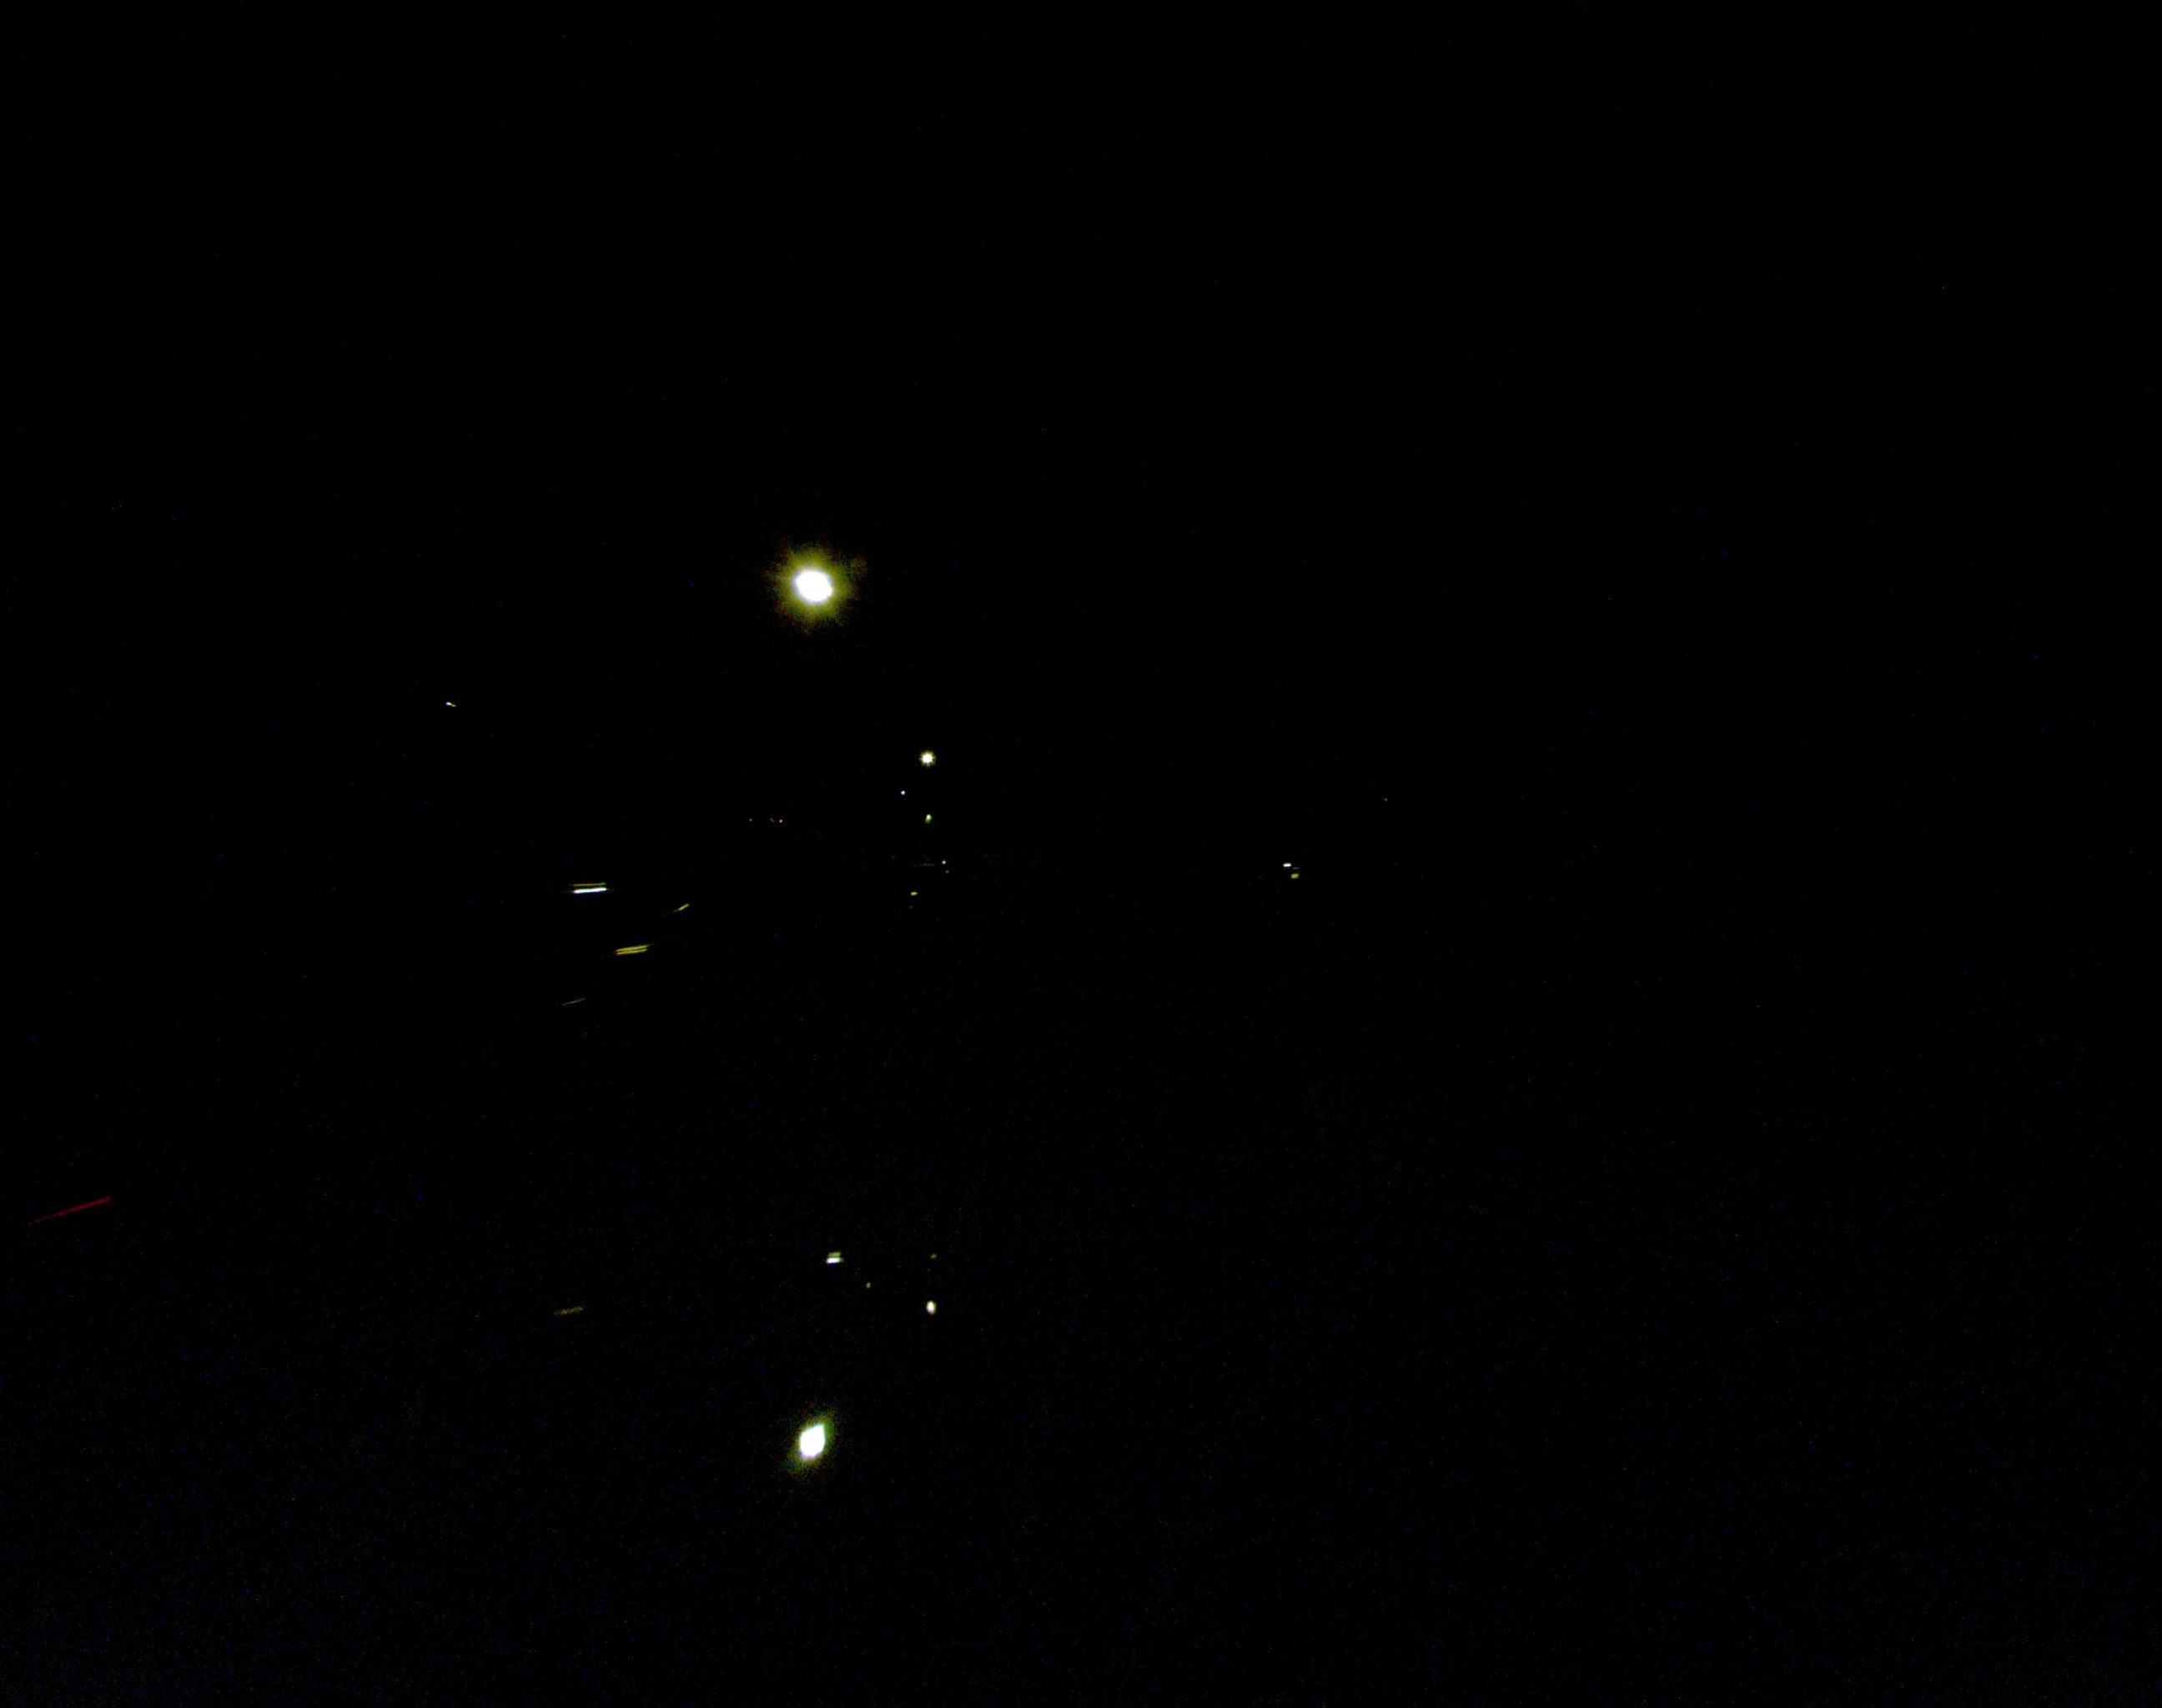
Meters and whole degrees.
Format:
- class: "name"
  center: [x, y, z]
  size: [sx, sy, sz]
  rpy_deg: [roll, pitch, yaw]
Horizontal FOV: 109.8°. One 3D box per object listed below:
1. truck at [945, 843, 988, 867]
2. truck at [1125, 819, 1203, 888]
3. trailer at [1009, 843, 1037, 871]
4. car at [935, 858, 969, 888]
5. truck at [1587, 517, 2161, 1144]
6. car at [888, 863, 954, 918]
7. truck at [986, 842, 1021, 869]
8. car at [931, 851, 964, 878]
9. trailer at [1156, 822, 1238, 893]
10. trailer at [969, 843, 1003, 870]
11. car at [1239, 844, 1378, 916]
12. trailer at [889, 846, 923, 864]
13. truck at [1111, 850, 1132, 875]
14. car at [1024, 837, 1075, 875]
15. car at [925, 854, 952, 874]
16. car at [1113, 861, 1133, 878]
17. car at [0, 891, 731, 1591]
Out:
- class: "truck"
  center: [-15.274, 0.154, 100.735]
  size: [2.756, 3.047, 9.316]
  rpy_deg: [-1, 0, -27]
- class: "truck"
  center: [4.124, -0.036, 39.340]
  size: [2.380, 3.224, 7.227]
  rpy_deg: [-1, 0, -7]
- class: "trailer"
  center: [-5.836, 0.316, 75.841]
  size: [2.004, 2.749, 3.994]
  rpy_deg: [1, -1, -16]
- class: "car"
  center: [-7.252, 1.040, 42.610]
  size: [1.614, 1.503, 3.821]
  rpy_deg: [-3, 1, -12]
- class: "truck"
  center: [6.917, -0.134, 4.896]
  size: [2.550, 3.261, 7.312]
  rpy_deg: [-1, 0, 1]
- class: "car"
  center: [-4.974, 1.075, 24.021]
  size: [1.716, 1.499, 3.997]
  rpy_deg: [-2, 0, -8]
- class: "truck"
  center: [-8.446, 0.135, 82.252]
  size: [2.002, 2.767, 7.231]
  rpy_deg: [-1, 0, -21]
- class: "car"
  center: [-11.160, 0.861, 63.174]
  size: [2.001, 2.002, 5.347]
  rpy_deg: [-3, 0, -16]
- class: "trailer"
  center: [4.884, 0.138, 32.714]
  size: [2.212, 2.779, 4.613]
  rpy_deg: [-1, 0, -8]
- class: "trailer"
  center: [-11.429, 0.285, 90.509]
  size: [2.493, 3.055, 7.941]
  rpy_deg: [-1, 0, -18]
- class: "car"
  center: [6.159, 0.643, 21.250]
  size: [2.000, 1.761, 4.689]
  rpy_deg: [-1, 0, -7]
- class: "trailer"
  center: [-19.492, 0.107, 84.375]
  size: [1.498, 2.002, 4.971]
  rpy_deg: [-1, 0, -41]
- class: "truck"
  center: [4.501, 0.924, 85.373]
  size: [2.137, 2.597, 7.100]
  rpy_deg: [0, 0, 2]
- class: "car"
  center: [-2.899, 0.190, 68.031]
  size: [2.392, 3.224, 7.219]
  rpy_deg: [-1, 0, -21]
- class: "car"
  center: [-13.240, 0.898, 70.463]
  size: [1.736, 1.769, 4.309]
  rpy_deg: [-2, 1, -19]
- class: "car"
  center: [4.229, 1.572, 76.618]
  size: [1.862, 1.630, 4.000]
  rpy_deg: [0, 0, 0]
- class: "car"
  center: [-3.544, 1.065, 3.551]
  size: [1.715, 1.499, 4.639]
  rpy_deg: [-2, 0, -1]
